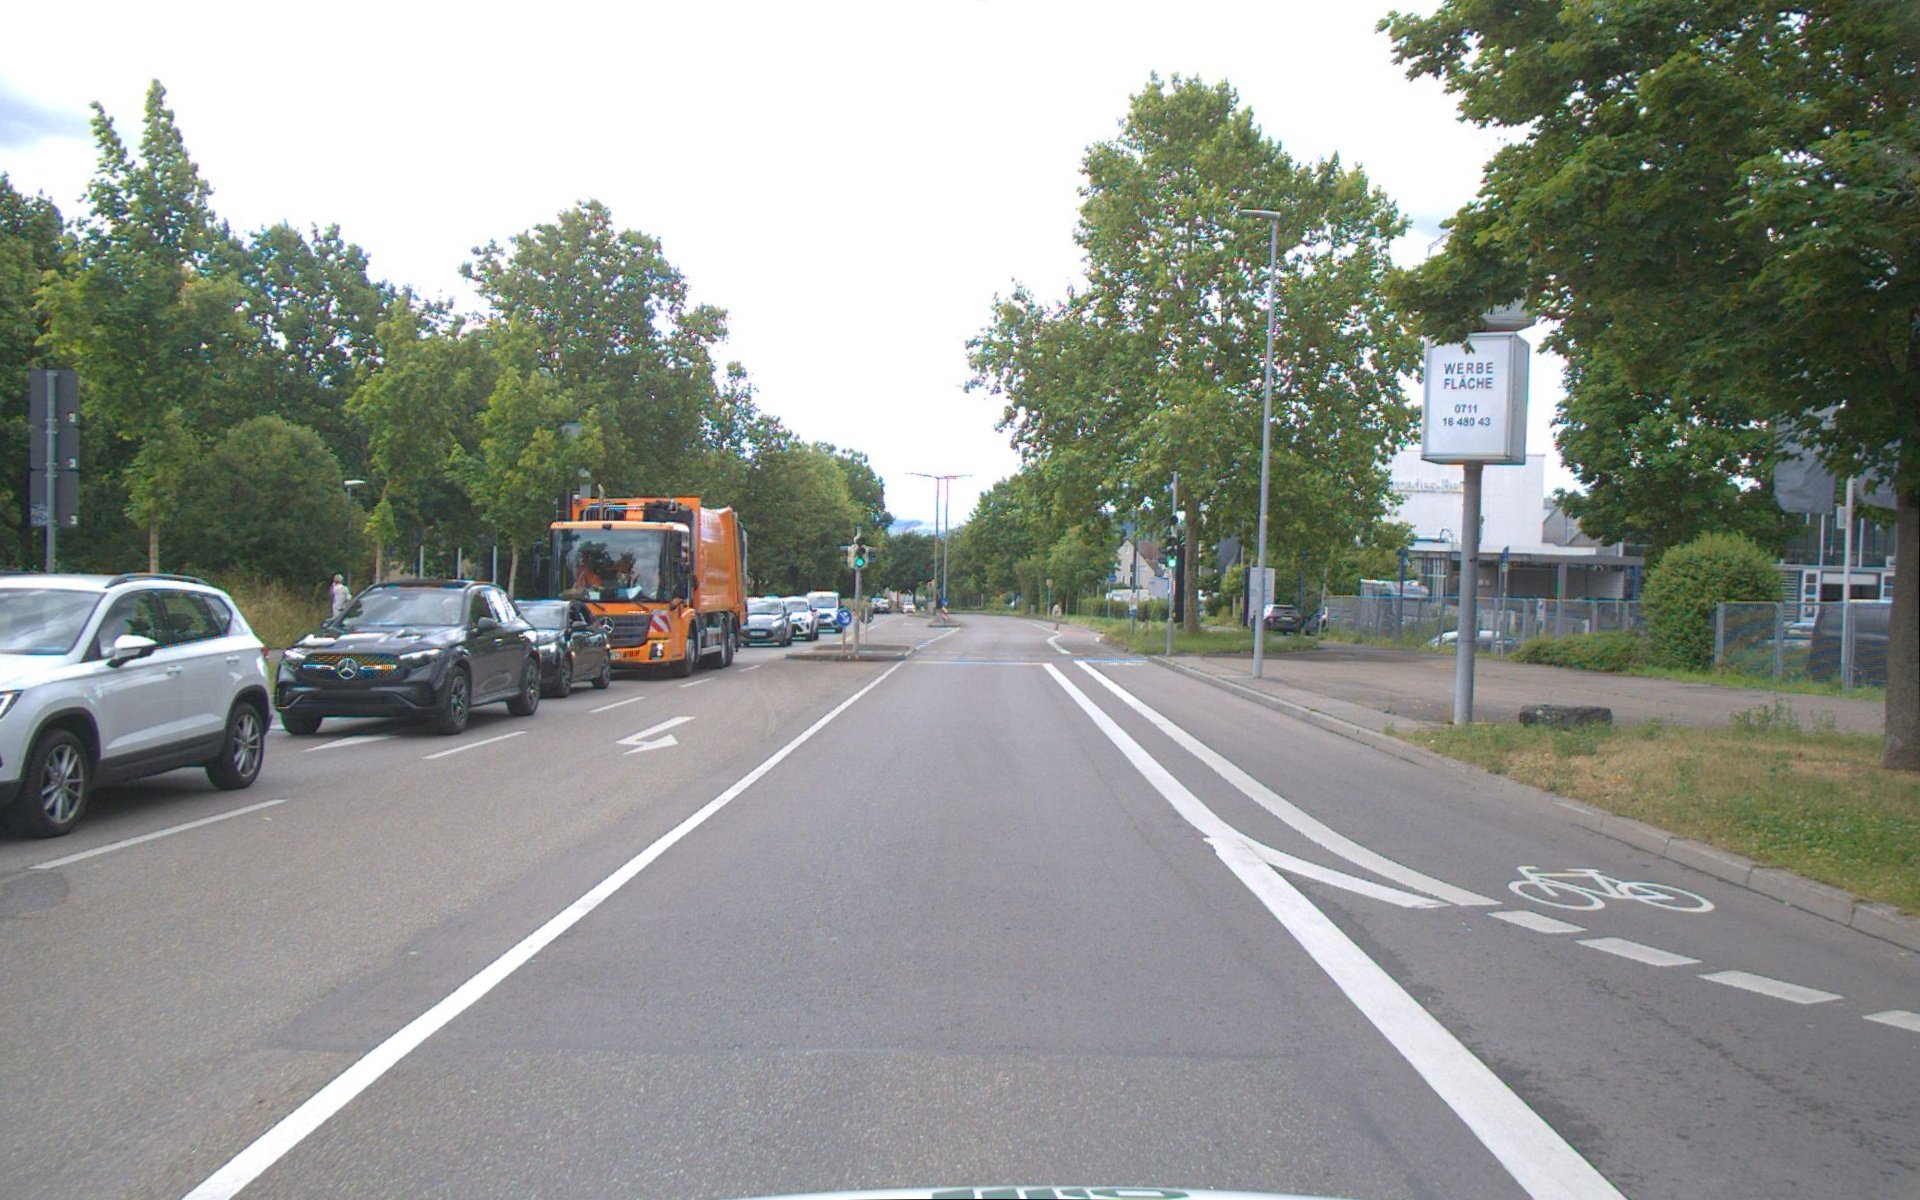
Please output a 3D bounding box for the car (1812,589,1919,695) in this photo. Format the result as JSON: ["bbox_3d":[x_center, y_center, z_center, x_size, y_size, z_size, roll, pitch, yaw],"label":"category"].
[{"bbox_3d":[19.775,0.857,32.857,1.975,2.061,4.743,1,0,-33],"label":"car"}]

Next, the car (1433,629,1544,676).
[{"bbox_3d":[20.112,1.976,63.015,3.660,1.646,1.690,2,0,-4],"label":"car"}]

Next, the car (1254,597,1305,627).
[{"bbox_3d":[15.331,0.547,79.591,1.675,1.378,4.345,1,0,1],"label":"car"}]

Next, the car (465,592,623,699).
[{"bbox_3d":[-6.305,0.635,25.444,1.404,1.483,3.895,1,0,0],"label":"car"}]

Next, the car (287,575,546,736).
[{"bbox_3d":[-6.099,0.557,19.039,1.606,1.613,4.060,1,0,0],"label":"car"}]

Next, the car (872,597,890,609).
[{"bbox_3d":[-8.876,0.342,186.014,1.735,1.327,4.000,2,0,0],"label":"car"}]

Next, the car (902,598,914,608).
[{"bbox_3d":[-7.390,0.373,234.169,1.579,1.327,4.000,2,0,0],"label":"car"}]

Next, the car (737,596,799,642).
[{"bbox_3d":[-5.976,0.574,51.712,1.515,1.354,3.653,-1,0,0],"label":"car"}]

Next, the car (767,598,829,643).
[{"bbox_3d":[-5.814,0.698,59.818,1.808,1.547,4.814,-1,0,-1],"label":"car"}]

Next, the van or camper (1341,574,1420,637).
[{"bbox_3d":[20.652,0.250,81.502,1.925,2.918,6.917,1,0,-2],"label":"van or camper"}]

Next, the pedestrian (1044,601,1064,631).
[{"bbox_3d":[4.692,0.781,82.475,0.777,1.489,0.745,1,0,-18],"label":"pedestrian"}]

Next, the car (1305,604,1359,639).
[{"bbox_3d":[17.935,1.003,79.901,1.675,1.534,4.345,3,0,1],"label":"car"}]

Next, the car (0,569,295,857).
[{"bbox_3d":[-6.250,0.606,11.282,1.695,1.613,4.223,1,0,0],"label":"car"}]

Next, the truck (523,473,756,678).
[{"bbox_3d":[-6.249,-0.469,34.079,2.650,3.548,9.996,1,0,1],"label":"truck"}]

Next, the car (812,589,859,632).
[{"bbox_3d":[-5.525,0.429,73.880,1.808,1.835,4.649,-1,0,-1],"label":"car"}]
